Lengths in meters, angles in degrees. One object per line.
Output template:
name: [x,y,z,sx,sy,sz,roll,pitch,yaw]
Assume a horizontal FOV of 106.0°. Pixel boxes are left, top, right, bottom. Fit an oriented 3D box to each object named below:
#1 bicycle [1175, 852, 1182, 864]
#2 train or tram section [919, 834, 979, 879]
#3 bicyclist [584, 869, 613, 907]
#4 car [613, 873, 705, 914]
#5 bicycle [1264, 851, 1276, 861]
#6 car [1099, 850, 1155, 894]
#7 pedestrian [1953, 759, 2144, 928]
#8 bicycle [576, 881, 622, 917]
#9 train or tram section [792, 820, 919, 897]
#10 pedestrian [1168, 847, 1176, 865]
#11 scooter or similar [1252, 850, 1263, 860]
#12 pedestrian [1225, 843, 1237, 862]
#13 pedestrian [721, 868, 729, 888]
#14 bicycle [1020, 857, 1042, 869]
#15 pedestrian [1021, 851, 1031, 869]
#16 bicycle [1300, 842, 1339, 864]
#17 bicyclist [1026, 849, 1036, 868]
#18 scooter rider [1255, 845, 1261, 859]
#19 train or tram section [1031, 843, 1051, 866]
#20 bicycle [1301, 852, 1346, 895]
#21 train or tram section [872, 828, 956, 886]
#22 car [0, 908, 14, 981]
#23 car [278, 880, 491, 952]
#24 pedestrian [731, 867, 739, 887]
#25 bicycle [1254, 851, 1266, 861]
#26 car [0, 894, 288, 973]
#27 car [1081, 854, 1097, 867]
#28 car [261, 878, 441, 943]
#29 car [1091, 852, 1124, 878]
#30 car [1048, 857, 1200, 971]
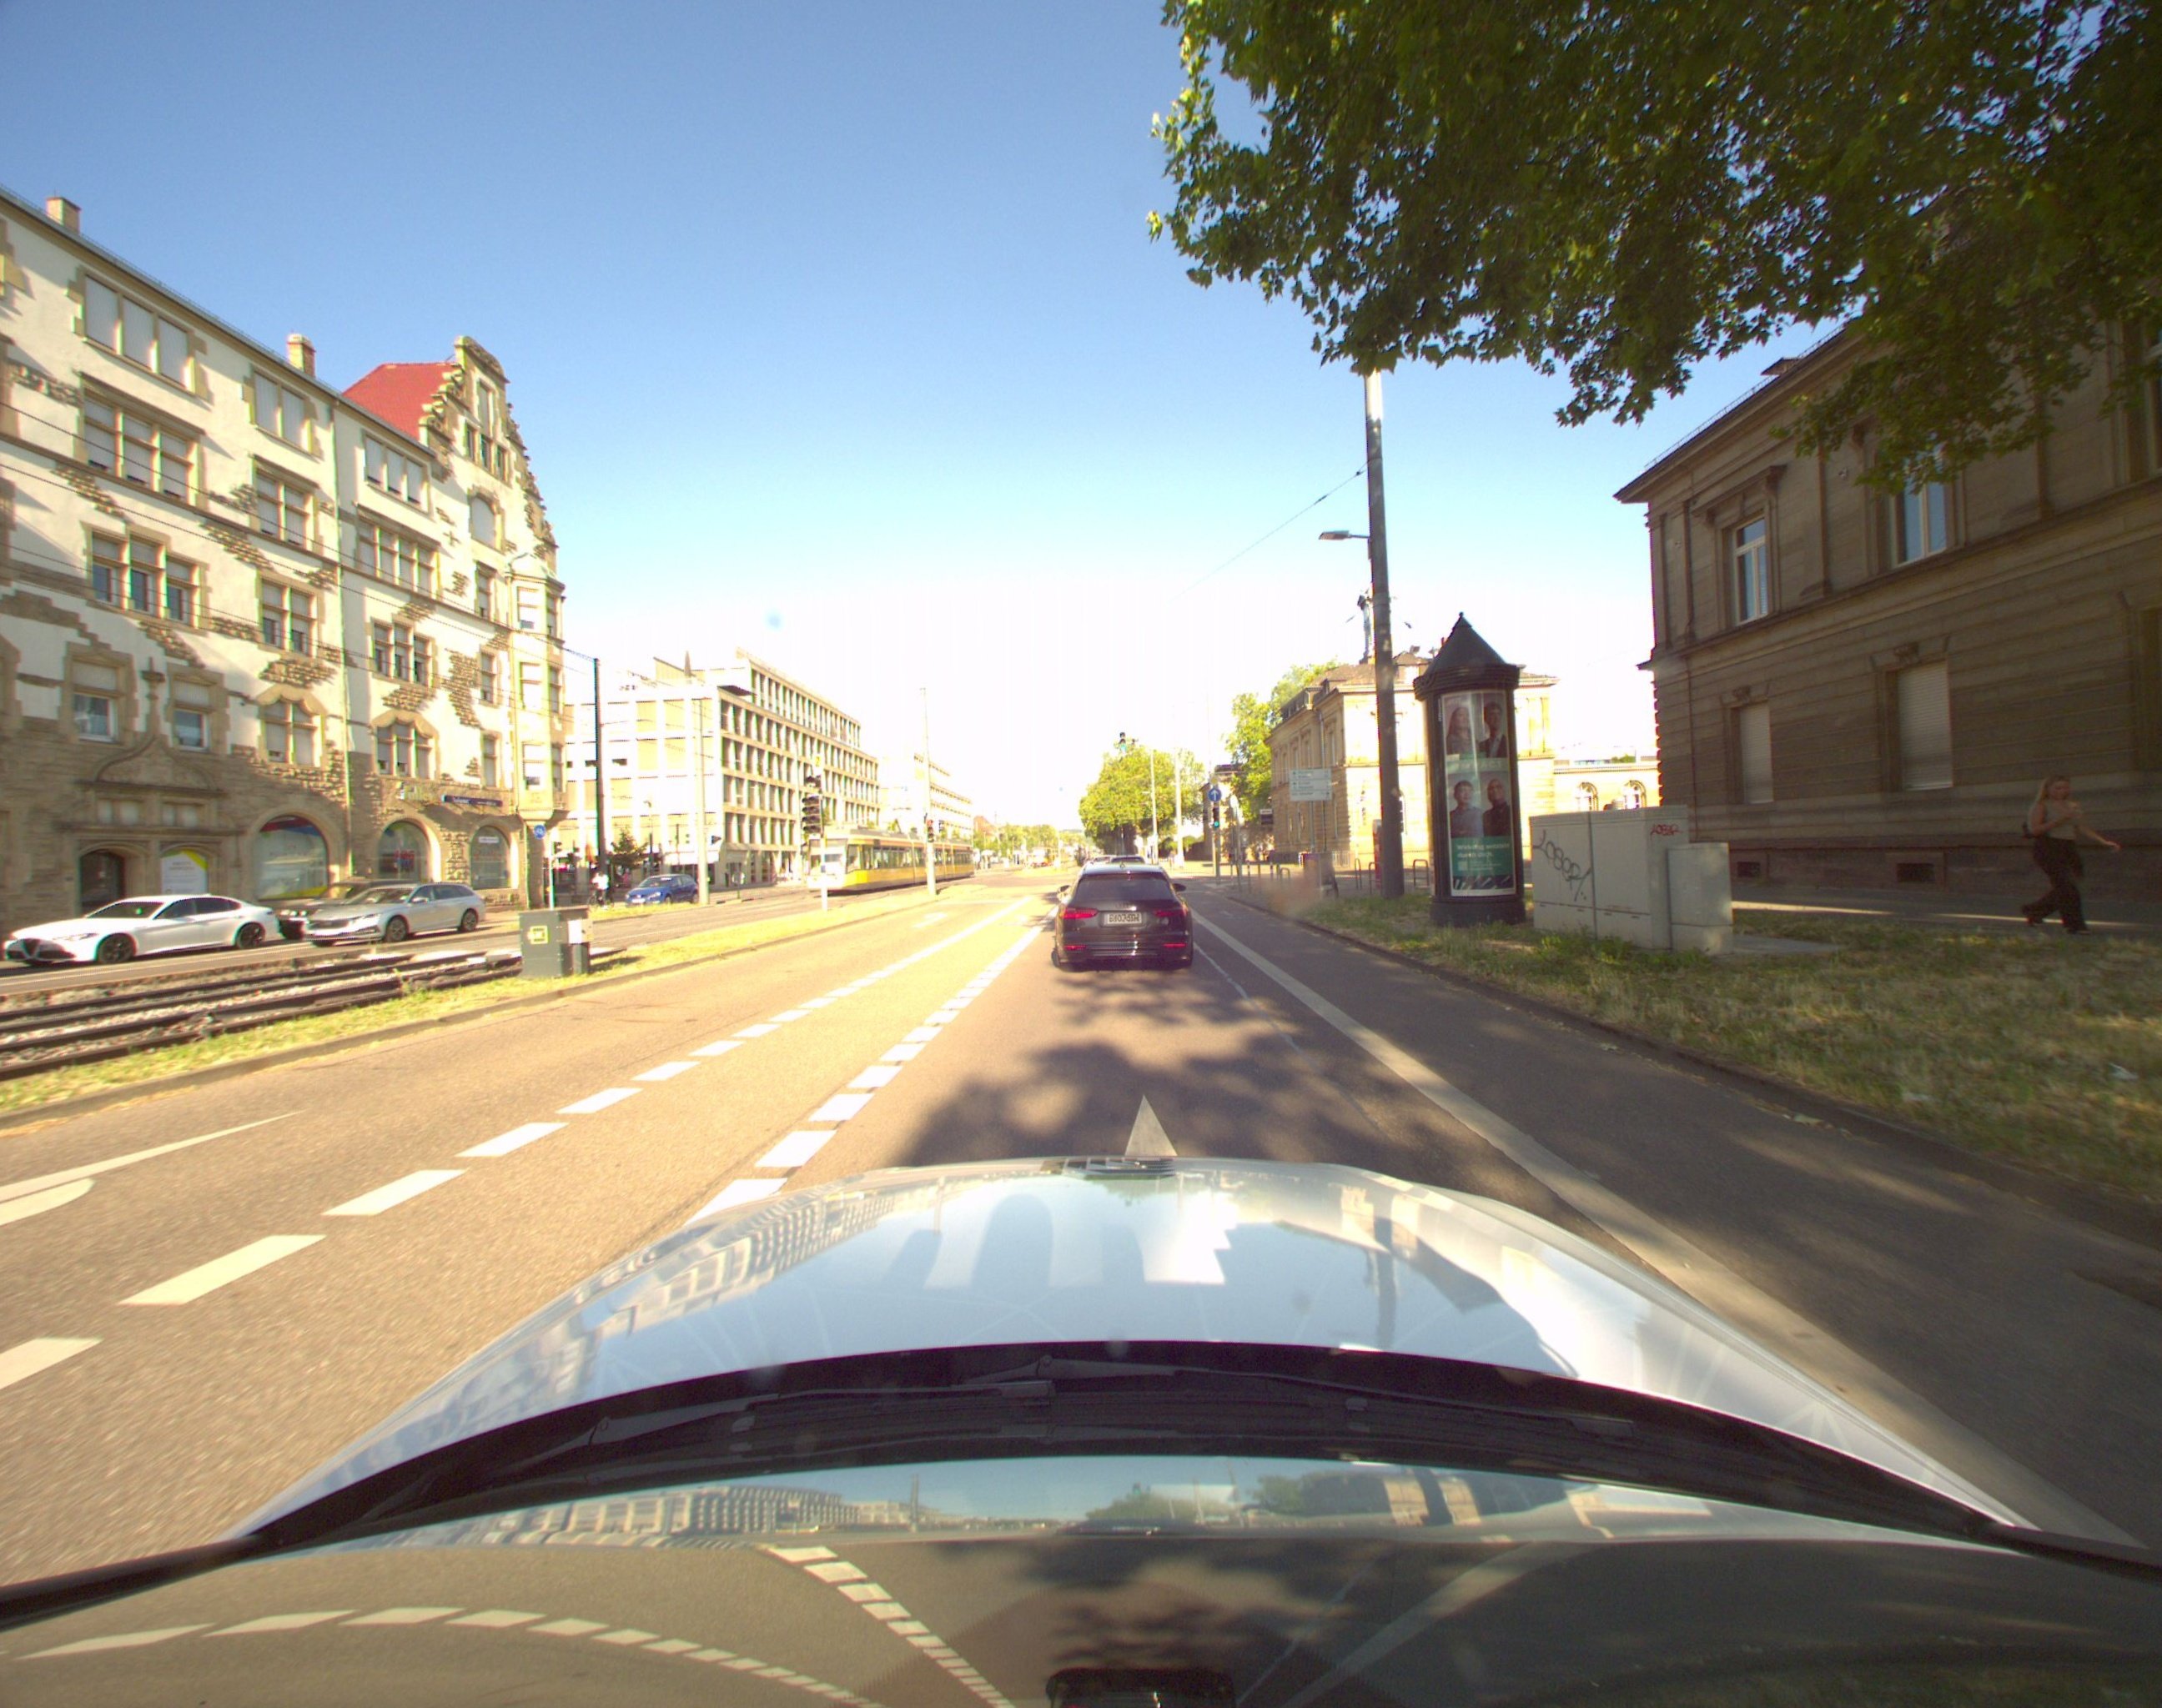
bicycle: [9.585,0.385,80.306,0.433,1.145,1.340,-3,0,0]
train or tram section: [-11.232,0.206,70.817,2.803,3.489,12.157,-3,0,1]
bicyclist: [-20.593,1.439,34.765,0.682,1.563,0.786,-3,0,2]
car: [-18.103,1.657,35.173,1.815,1.457,4.153,-3,0,-2]
bicycle: [20.640,0.185,88.969,0.525,1.047,2.353,-3,0,-7]
car: [1.623,0.605,29.850,1.895,1.486,4.146,-1,0,2]
pedestrian: [10.537,-0.107,8.921,0.766,1.709,1.043,-3,0,3]
bicycle: [-20.568,1.900,34.781,0.682,1.382,1.948,-3,0,3]
train or tram section: [-11.928,0.207,44.916,2.803,3.489,13.207,-3,0,1]
pedestrian: [8.950,0.192,80.293,0.680,1.660,0.758,-3,0,-1]
scooter or similar: [17.992,0.099,82.885,0.936,0.966,0.361,-4,-1,-1]
pedestrian: [14.775,-0.130,80.363,0.975,1.865,0.827,-3,0,1]
pedestrian: [-33.188,2.252,75.882,0.475,1.843,0.438,-3,-1,-37]
bicycle: [-4.991,0.924,80.973,2.012,1.108,0.759,-3,0,-19]
pedestrian: [-5.597,0.630,82.314,0.743,1.741,0.658,-3,0,-23]
bicycle: [14.753,-0.069,50.335,2.130,1.209,0.765,-4,0,-1]
bicyclist: [-4.948,0.457,81.003,0.759,1.818,0.760,-3,0,-19]
scooter rider: [18.006,-0.232,82.898,0.483,1.385,0.377,-4,-1,-1]
train or tram section: [-6.561,0.087,133.524,2.600,3.450,11.129,-3,0,0]
bicycle: [6.348,0.487,21.400,0.538,1.061,1.770,-3,0,-2]
train or tram section: [-11.565,0.197,58.132,2.803,3.489,13.207,-3,0,1]
car: [-22.013,1.789,14.029,1.704,1.431,4.221,0,0,-1]
car: [-17.835,1.520,21.210,1.817,1.457,4.533,-3,0,-4]
pedestrian: [-32.479,2.179,76.530,0.535,1.843,0.438,-3,-1,-37]
bicycle: [19.580,0.209,89.003,0.525,1.047,2.353,-3,0,-7]
car: [-22.148,1.788,19.512,1.711,1.423,4.655,0,0,0]
car: [0.970,0.773,99.804,1.895,1.486,4.146,-1,0,2]
car: [-22.075,1.641,24.883,1.711,1.675,4.216,0,0,0]
car: [1.562,0.625,48.069,1.895,1.486,4.146,-1,0,2]
car: [0.611,0.764,12.326,1.895,1.422,4.146,-1,0,2]
